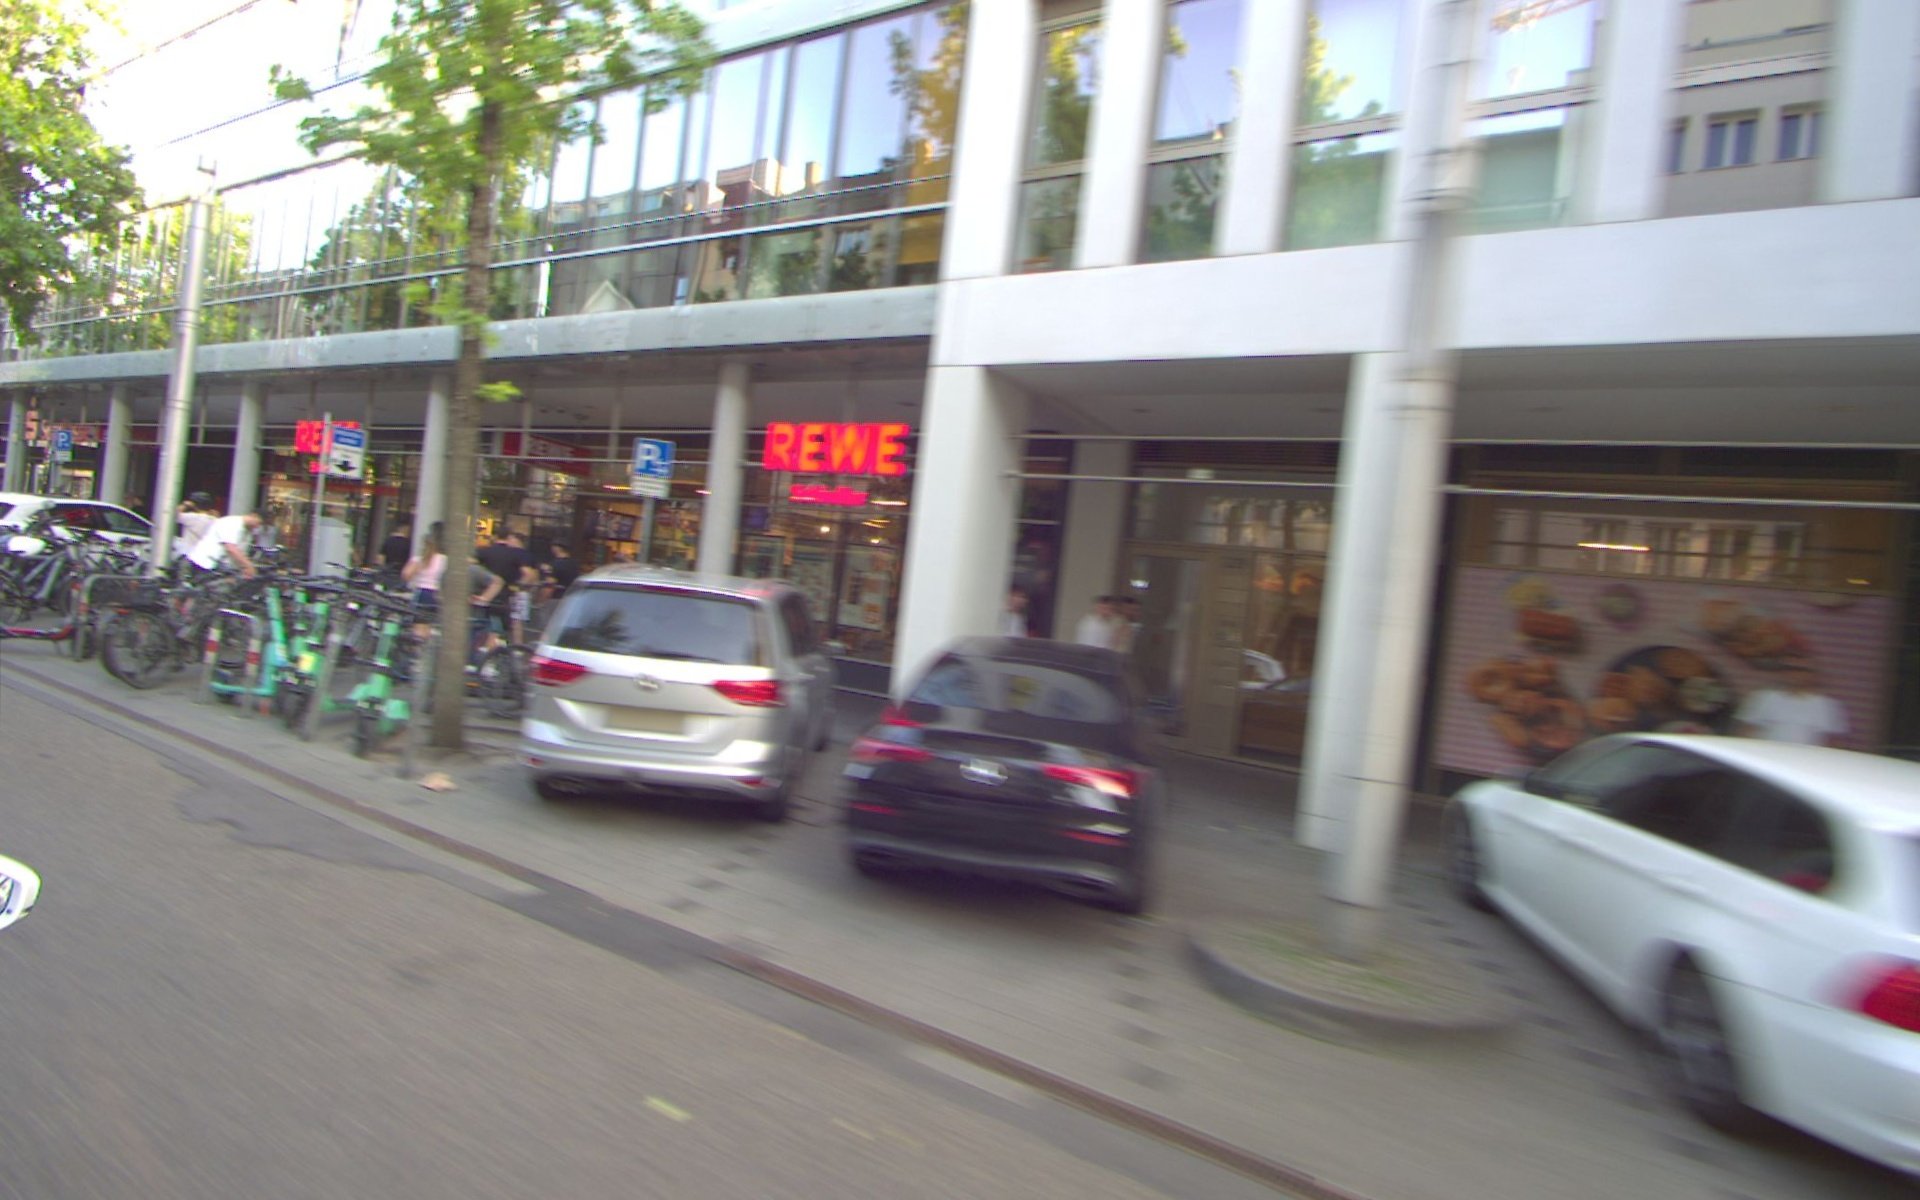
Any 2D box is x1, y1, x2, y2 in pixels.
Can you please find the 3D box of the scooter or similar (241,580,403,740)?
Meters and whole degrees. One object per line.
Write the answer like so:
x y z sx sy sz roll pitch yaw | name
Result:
-5.329 0.470 8.492 0.490 1.196 1.331 7 0 -5 | scooter or similar

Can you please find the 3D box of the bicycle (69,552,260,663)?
-8.914 0.058 11.376 0.612 1.090 1.831 7 2 0 | bicycle

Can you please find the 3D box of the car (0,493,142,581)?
-17.734 -1.210 18.323 1.828 1.477 4.183 6 1 9 | car

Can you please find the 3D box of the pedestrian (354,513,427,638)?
-8.921 -0.383 15.773 0.781 1.836 0.656 6 2 -23 | pedestrian

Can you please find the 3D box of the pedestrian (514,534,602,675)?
-5.375 0.065 13.446 0.722 1.777 0.712 8 2 44 | pedestrian

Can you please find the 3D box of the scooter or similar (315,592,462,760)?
-4.581 0.567 8.161 0.571 1.164 1.396 7 1 -14 | scooter or similar

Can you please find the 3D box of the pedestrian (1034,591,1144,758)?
1.456 0.832 11.326 0.792 1.719 0.681 8 0 31 | pedestrian

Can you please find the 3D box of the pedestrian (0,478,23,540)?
-30.008 -2.887 31.366 0.928 1.860 0.833 8 2 32 | pedestrian

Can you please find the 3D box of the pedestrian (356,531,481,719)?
-5.072 0.231 9.410 0.786 1.647 0.761 5 2 -39 | pedestrian

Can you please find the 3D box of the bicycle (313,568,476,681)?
-6.507 0.275 11.675 0.492 1.164 1.695 7 2 17 | bicycle

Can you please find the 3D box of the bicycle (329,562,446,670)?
-7.151 0.166 12.658 0.545 1.205 1.693 6 2 -6 | bicycle

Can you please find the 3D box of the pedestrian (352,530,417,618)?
-10.931 -0.491 19.113 0.653 1.566 0.681 6 -1 31 | pedestrian

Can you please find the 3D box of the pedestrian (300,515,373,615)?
-11.643 -0.656 18.783 0.792 1.719 0.681 8 0 31 | pedestrian

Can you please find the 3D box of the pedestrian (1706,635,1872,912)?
6.357 1.297 7.766 0.671 1.919 0.804 9 0 33 | pedestrian

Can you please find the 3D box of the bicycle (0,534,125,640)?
-10.982 -0.163 11.807 0.792 1.131 1.749 7 0 0 | bicycle

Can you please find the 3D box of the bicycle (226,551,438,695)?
-6.429 0.223 10.429 0.668 1.290 1.833 7 2 13 | bicycle

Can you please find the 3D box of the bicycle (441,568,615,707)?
-4.618 0.410 10.855 1.571 1.305 0.577 6 2 -19 | bicycle

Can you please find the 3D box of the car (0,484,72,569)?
-20.086 -1.549 19.522 1.885 1.659 4.204 6 1 0 | car

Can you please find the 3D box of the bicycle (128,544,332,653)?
-8.908 -0.015 12.396 0.685 1.163 2.000 7 2 14 | bicycle

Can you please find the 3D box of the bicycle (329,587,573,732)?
-4.705 0.538 9.388 1.846 1.090 0.630 7 2 -4 | bicycle

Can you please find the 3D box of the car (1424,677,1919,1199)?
3.900 1.363 4.876 1.794 1.441 4.349 6 1 10 | car

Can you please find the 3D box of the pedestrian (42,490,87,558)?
-23.279 -1.974 26.151 0.743 1.637 0.596 8 3 31 | pedestrian

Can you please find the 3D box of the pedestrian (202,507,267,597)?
-14.868 -0.989 20.616 0.792 1.719 0.681 6 -1 31 | pedestrian

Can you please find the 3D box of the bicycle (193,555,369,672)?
-7.476 0.149 11.179 0.469 1.153 1.686 7 1 12 | bicycle

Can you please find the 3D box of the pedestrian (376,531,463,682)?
-6.235 0.066 11.632 0.696 1.645 0.656 6 2 -23 | pedestrian

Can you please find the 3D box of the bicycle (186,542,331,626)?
-10.681 -0.234 15.413 0.828 1.131 1.791 6 1 3 | bicycle

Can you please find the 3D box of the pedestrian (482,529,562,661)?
-6.400 -0.071 14.698 0.706 1.836 0.657 7 2 36 | pedestrian

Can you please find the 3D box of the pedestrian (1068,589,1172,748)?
1.889 0.803 11.850 0.792 1.719 0.681 8 0 31 | pedestrian

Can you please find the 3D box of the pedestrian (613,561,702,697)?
-3.758 0.361 12.485 0.756 1.591 0.625 6 0 -36 | pedestrian

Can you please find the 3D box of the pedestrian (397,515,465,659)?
-7.145 -0.180 13.596 0.652 1.836 0.711 5 2 -28 | pedestrian

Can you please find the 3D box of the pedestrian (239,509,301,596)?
-14.705 -1.014 21.435 0.792 1.719 0.663 6 -1 31 | pedestrian

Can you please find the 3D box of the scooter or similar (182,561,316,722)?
-6.158 0.337 8.698 1.194 1.238 0.482 6 2 33 | scooter or similar

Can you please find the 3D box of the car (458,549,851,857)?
-2.069 0.586 8.331 1.920 1.661 4.670 6 1 -3 | car

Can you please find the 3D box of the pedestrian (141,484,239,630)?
-10.305 -0.573 13.485 0.590 1.837 0.817 7 3 -6 | pedestrian

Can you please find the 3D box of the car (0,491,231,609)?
-13.935 -0.806 15.737 1.842 1.583 4.340 6 1 -1 | car

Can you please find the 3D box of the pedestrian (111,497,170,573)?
-21.031 -1.673 25.829 0.743 1.806 0.878 8 2 31 | pedestrian

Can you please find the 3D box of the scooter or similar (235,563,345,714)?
-6.162 0.335 9.229 0.566 1.220 1.265 5 2 -43 | scooter or similar

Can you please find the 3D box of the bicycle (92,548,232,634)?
-10.804 -0.159 13.691 0.543 1.048 1.594 6 4 2 | bicycle

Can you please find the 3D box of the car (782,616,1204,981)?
0.505 0.963 6.972 1.918 1.441 4.349 6 1 10 | car

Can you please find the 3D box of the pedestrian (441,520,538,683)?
-5.707 0.009 12.251 0.875 1.836 0.932 6 2 -23 | pedestrian

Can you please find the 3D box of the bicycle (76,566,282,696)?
-7.446 0.262 9.702 0.485 1.090 1.748 7 1 2 | bicycle

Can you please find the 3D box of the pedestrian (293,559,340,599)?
-14.261 -0.467 22.306 0.654 0.791 0.607 6 -1 34 | pedestrian

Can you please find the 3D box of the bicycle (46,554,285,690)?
-7.807 0.182 10.028 0.667 1.145 1.992 7 1 2 | bicycle

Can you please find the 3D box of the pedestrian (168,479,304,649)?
-8.916 -0.432 12.415 0.847 1.939 0.951 8 3 20 | pedestrian

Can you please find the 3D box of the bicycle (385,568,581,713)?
-4.775 0.417 10.180 1.639 1.266 0.637 6 2 -23 | bicycle

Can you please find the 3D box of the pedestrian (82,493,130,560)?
-22.731 -1.964 26.765 1.004 1.637 0.596 8 2 31 | pedestrian

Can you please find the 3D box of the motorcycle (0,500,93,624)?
-12.281 -0.507 12.826 0.783 1.490 2.199 7 1 -12 | motorcycle

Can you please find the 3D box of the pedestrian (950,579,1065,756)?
0.524 0.735 11.032 0.792 1.792 0.681 8 0 31 | pedestrian

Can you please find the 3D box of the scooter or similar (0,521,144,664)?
-9.588 -0.091 10.529 1.369 1.321 0.696 7 1 -7 | scooter or similar

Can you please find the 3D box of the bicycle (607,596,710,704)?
-3.752 0.585 12.406 0.568 1.097 1.865 5 1 -35 | bicycle

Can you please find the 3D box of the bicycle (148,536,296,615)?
-11.997 -0.371 16.439 0.918 1.131 1.750 6 0 8 | bicycle

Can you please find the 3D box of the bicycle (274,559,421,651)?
-8.489 0.070 14.044 0.809 1.108 1.833 7 0 1 | bicycle

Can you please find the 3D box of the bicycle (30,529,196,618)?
-12.364 -0.365 14.767 0.902 1.131 1.748 6 0 -2 | bicycle
